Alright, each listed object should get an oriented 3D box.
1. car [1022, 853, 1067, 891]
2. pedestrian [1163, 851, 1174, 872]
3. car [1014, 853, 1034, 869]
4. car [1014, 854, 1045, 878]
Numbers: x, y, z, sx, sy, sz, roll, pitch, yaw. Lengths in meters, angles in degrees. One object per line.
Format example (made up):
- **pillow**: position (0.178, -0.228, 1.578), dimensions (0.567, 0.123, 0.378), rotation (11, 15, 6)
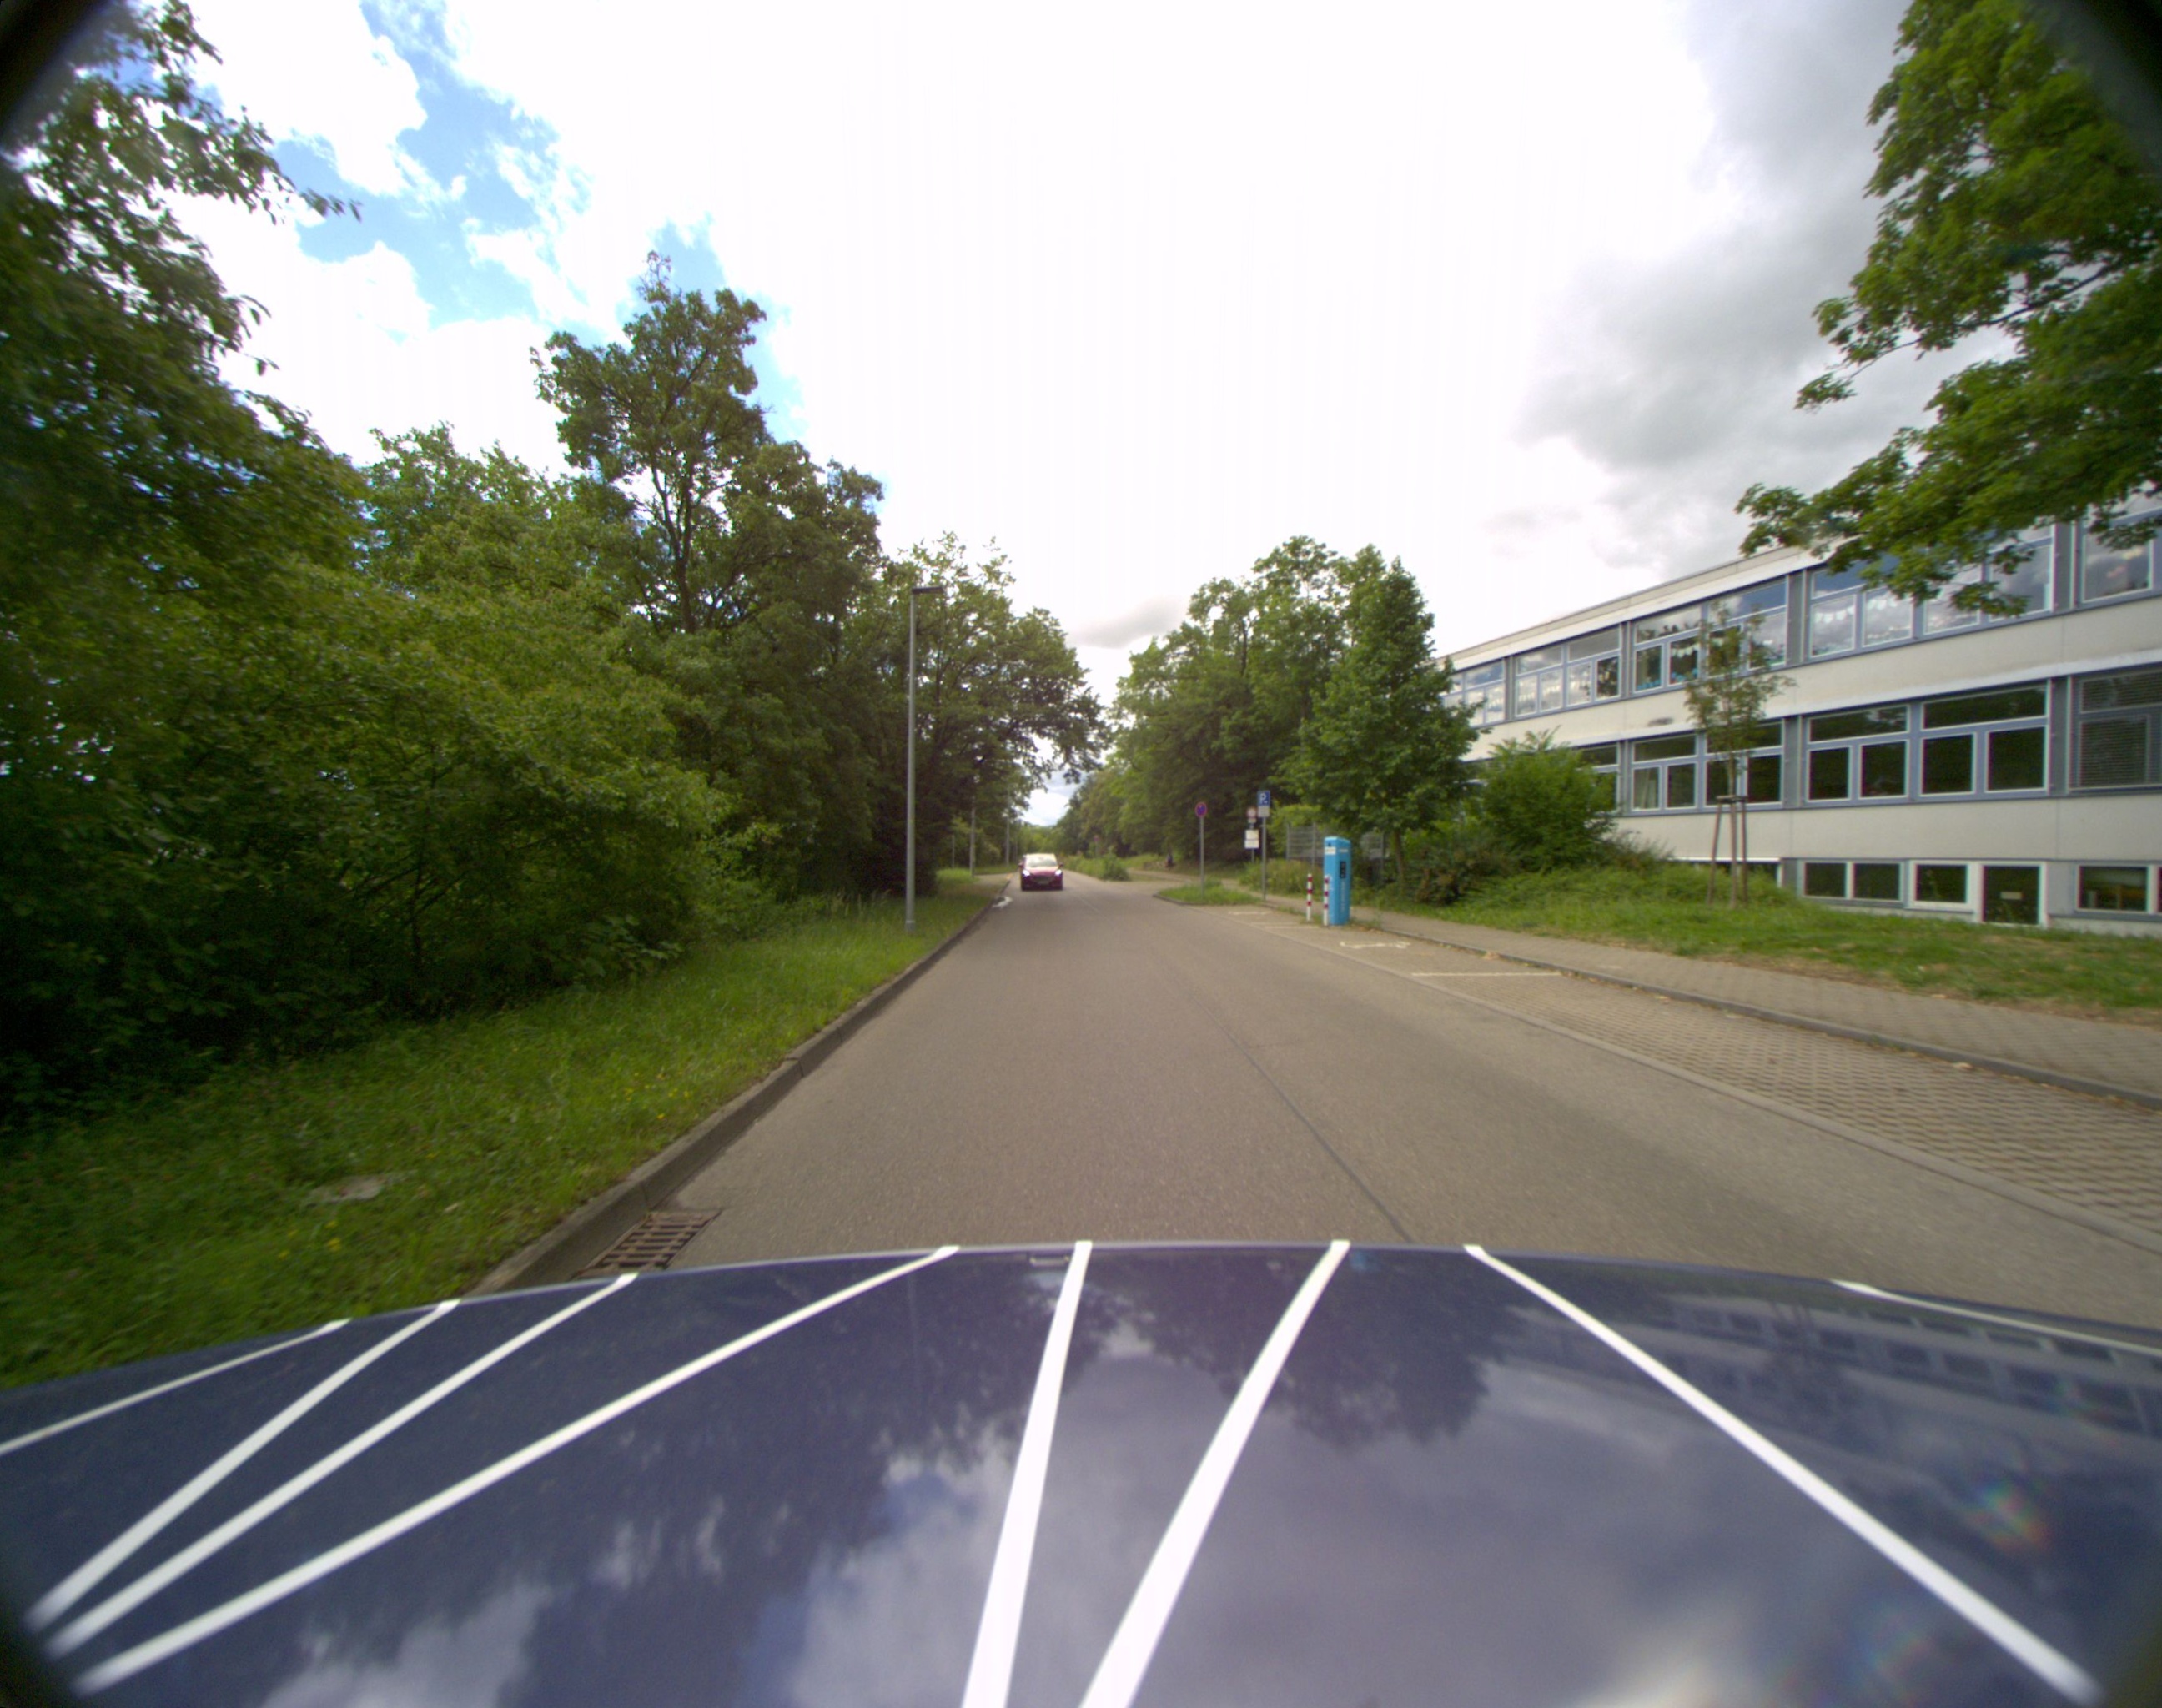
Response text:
- **car**: position (-1.654, 0.782, 35.656), dimensions (1.861, 1.608, 4.476), rotation (-2, 0, 0)
- **pedestrian**: position (6.987, 0.619, 60.658), dimensions (0.762, 1.653, 0.808), rotation (0, 0, -6)
- **car**: position (-5.736, 0.669, 76.350), dimensions (1.921, 1.587, 3.897), rotation (0, 0, -3)
- **car**: position (-3.627, 0.826, 53.395), dimensions (2.000, 1.564, 3.998), rotation (0, 0, -6)
